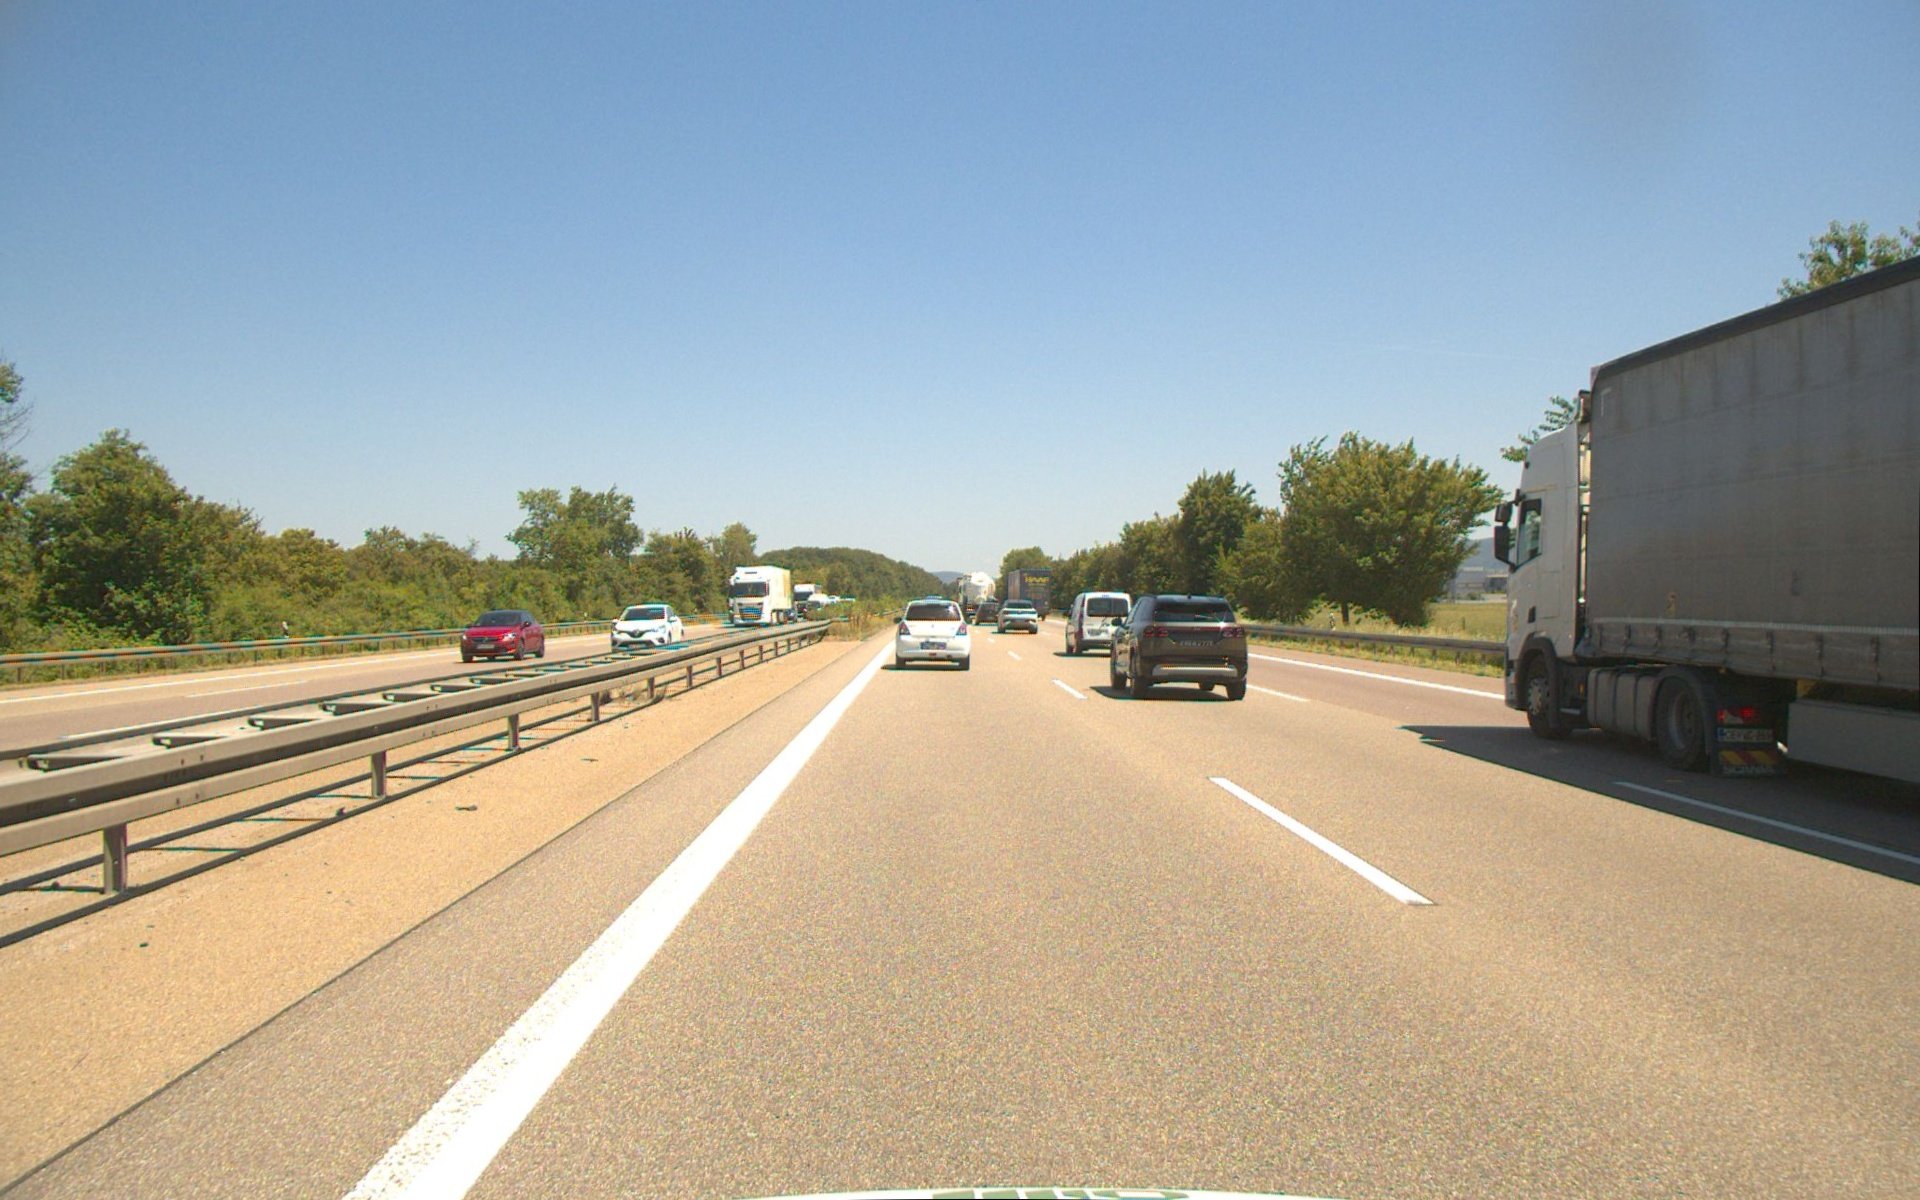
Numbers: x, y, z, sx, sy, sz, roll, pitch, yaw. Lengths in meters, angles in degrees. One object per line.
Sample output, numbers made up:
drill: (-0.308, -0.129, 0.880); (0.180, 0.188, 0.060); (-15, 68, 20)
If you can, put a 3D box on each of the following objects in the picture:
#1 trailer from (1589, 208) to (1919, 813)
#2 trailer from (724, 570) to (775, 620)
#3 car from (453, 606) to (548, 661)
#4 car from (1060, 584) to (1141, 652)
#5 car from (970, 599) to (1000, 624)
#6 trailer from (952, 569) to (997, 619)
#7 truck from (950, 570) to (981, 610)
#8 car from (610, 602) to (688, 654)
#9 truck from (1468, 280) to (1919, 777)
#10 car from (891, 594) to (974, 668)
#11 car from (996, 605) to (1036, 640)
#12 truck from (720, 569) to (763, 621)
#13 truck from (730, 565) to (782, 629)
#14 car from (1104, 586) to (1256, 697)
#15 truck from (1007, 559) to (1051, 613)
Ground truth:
trailer: (8.337, -0.638, 10.753); (2.753, 4.380, 14.250); (1, 0, -1)
trailer: (-18.654, -0.420, 147.566); (2.701, 4.174, 14.050); (-3, 0, 0)
car: (-13.529, 0.948, 48.960); (1.737, 1.442, 4.109); (-2, 0, -2)
car: (4.088, 0.513, 48.886); (1.816, 1.895, 4.700); (1, 0, -2)
car: (1.594, 0.754, 107.969); (1.813, 1.549, 3.956); (1, 0, -1)
trailer: (1.165, -0.490, 142.907); (2.854, 4.140, 12.407); (1, 0, -4)
truck: (0.603, -1.089, 187.660); (3.325, 4.287, 12.082); (1, 0, 0)
car: (-9.303, 0.817, 49.747); (1.684, 1.447, 3.896); (-2, 0, -2)
truck: (8.182, -0.614, 18.324); (2.753, 4.380, 7.191); (1, 0, -1)
car: (-0.644, 0.683, 37.767); (1.763, 1.579, 3.609); (1, 0, -2)
car: (2.725, 1.102, 81.181); (1.766, 1.631, 4.380); (1, 0, -1)
truck: (-18.578, -0.436, 140.706); (2.701, 4.174, 6.151); (-3, 0, -1)
truck: (-13.974, -0.213, 113.806); (2.684, 4.156, 6.217); (-2, 0, 0)
car: (3.644, 0.660, 28.208); (1.829, 1.704, 4.744); (1, 0, -2)
truck: (5.742, -1.081, 139.805); (3.045, 4.211, 15.510); (1, 0, 0)
